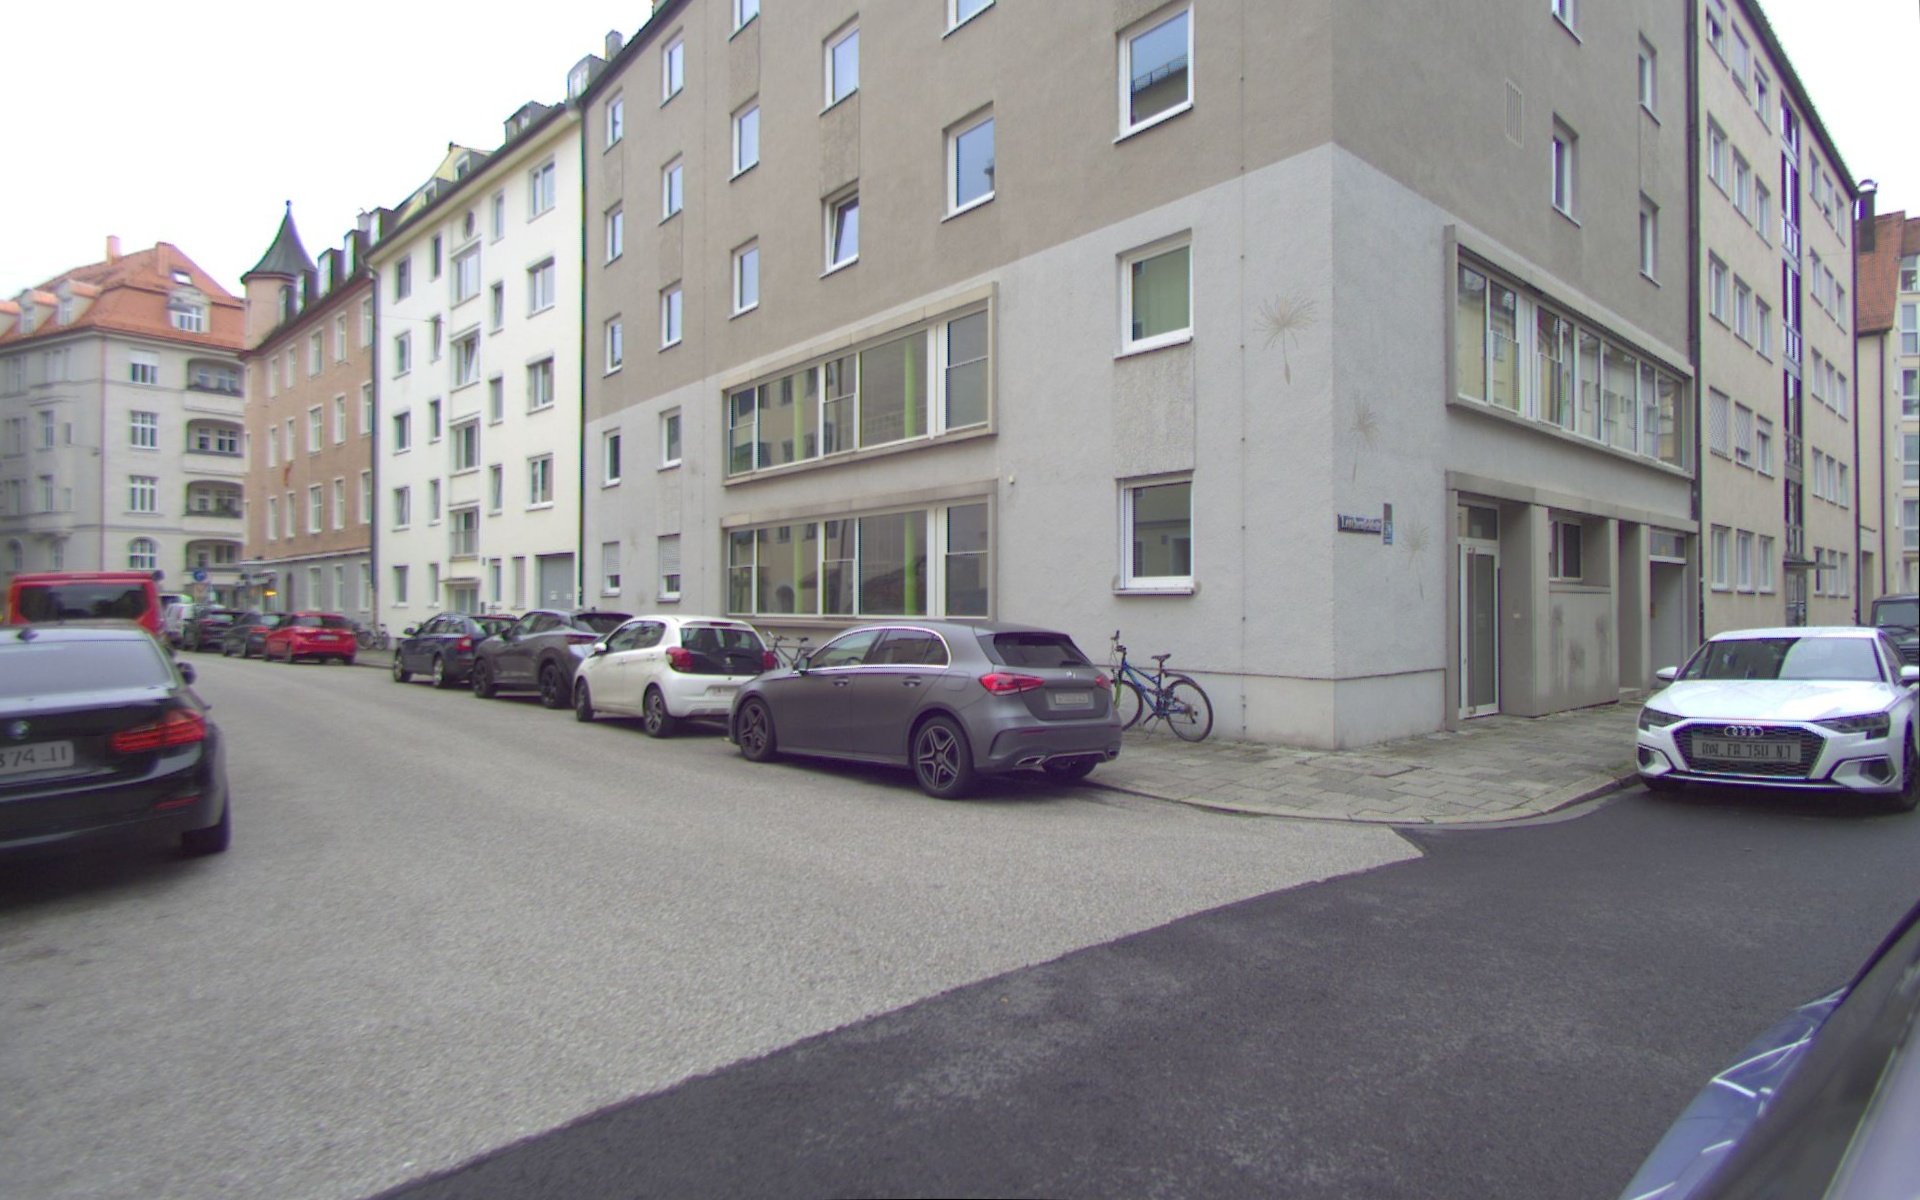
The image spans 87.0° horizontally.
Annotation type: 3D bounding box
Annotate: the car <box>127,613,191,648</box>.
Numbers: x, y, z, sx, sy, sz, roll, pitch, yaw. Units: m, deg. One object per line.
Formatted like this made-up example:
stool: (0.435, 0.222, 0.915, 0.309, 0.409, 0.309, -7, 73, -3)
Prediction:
car: (-36.583, 1.389, 46.166, 3.871, 1.535, 1.708, -1, -3, 43)

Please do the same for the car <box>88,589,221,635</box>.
car: (-47.304, 0.652, 59.559, 1.993, 2.577, 5.898, -3, -1, 43)

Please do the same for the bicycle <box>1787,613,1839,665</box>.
bicycle: (20.129, 0.902, 23.881, 1.730, 1.119, 0.655, 0, 3, -42)

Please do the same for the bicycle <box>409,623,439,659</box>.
bicycle: (-17.521, 1.325, 33.075, 0.457, 1.130, 1.799, 0, -1, -41)

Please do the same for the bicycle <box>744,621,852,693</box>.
bicycle: (-2.791, 0.931, 17.264, 0.865, 1.130, 2.051, 0, -1, -41)

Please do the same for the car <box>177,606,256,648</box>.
car: (-28.352, 1.042, 38.559, 3.871, 1.535, 1.708, -1, -3, 43)

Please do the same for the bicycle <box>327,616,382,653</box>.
bicycle: (-22.173, 1.242, 37.009, 2.890, 1.307, 1.004, -1, -2, 44)

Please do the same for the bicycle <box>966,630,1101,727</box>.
bicycle: (0.913, 0.970, 13.022, 0.639, 1.130, 1.799, 0, -1, -41)

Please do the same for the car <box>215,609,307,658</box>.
car: (-23.247, 1.094, 33.594, 3.871, 1.535, 1.708, -1, -3, 43)

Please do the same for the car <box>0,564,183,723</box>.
car: (-13.511, 0.577, 15.748, 1.876, 2.078, 4.546, -3, 1, -42)

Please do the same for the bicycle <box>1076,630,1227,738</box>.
bicycle: (2.165, 0.921, 11.627, 0.457, 1.130, 1.799, 0, -1, -41)

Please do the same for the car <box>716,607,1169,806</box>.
car: (-0.353, 0.819, 9.592, 1.966, 1.418, 4.208, 3, -2, -43)

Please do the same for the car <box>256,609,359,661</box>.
car: (-19.398, 1.027, 30.049, 3.662, 1.436, 1.708, -1, -3, 43)

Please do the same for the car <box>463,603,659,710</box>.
car: (-6.727, 0.912, 16.912, 3.663, 1.547, 1.541, 1, -5, 43)

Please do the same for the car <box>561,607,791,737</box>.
car: (-3.804, 0.894, 13.276, 1.539, 1.455, 3.349, 7, -4, -41)

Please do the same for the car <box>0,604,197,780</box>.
car: (-9.439, 0.846, 10.902, 1.682, 1.512, 3.981, -3, 1, -40)

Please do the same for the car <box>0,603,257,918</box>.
car: (-5.927, 0.791, 6.609, 1.683, 1.512, 4.217, -1, 0, -42)

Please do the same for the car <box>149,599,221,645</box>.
car: (-32.367, 0.945, 42.251, 4.095, 1.816, 1.708, -1, -3, 43)

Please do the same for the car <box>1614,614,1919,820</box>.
car: (7.579, 0.858, 9.120, 3.883, 1.426, 1.821, 0, -2, -41)

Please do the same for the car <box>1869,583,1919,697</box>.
car: (18.593, 0.700, 19.061, 4.270, 2.001, 1.752, 1, -3, -43)

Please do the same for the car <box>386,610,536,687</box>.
car: (-10.246, 0.952, 20.678, 3.662, 1.436, 1.542, -1, -3, 43)
